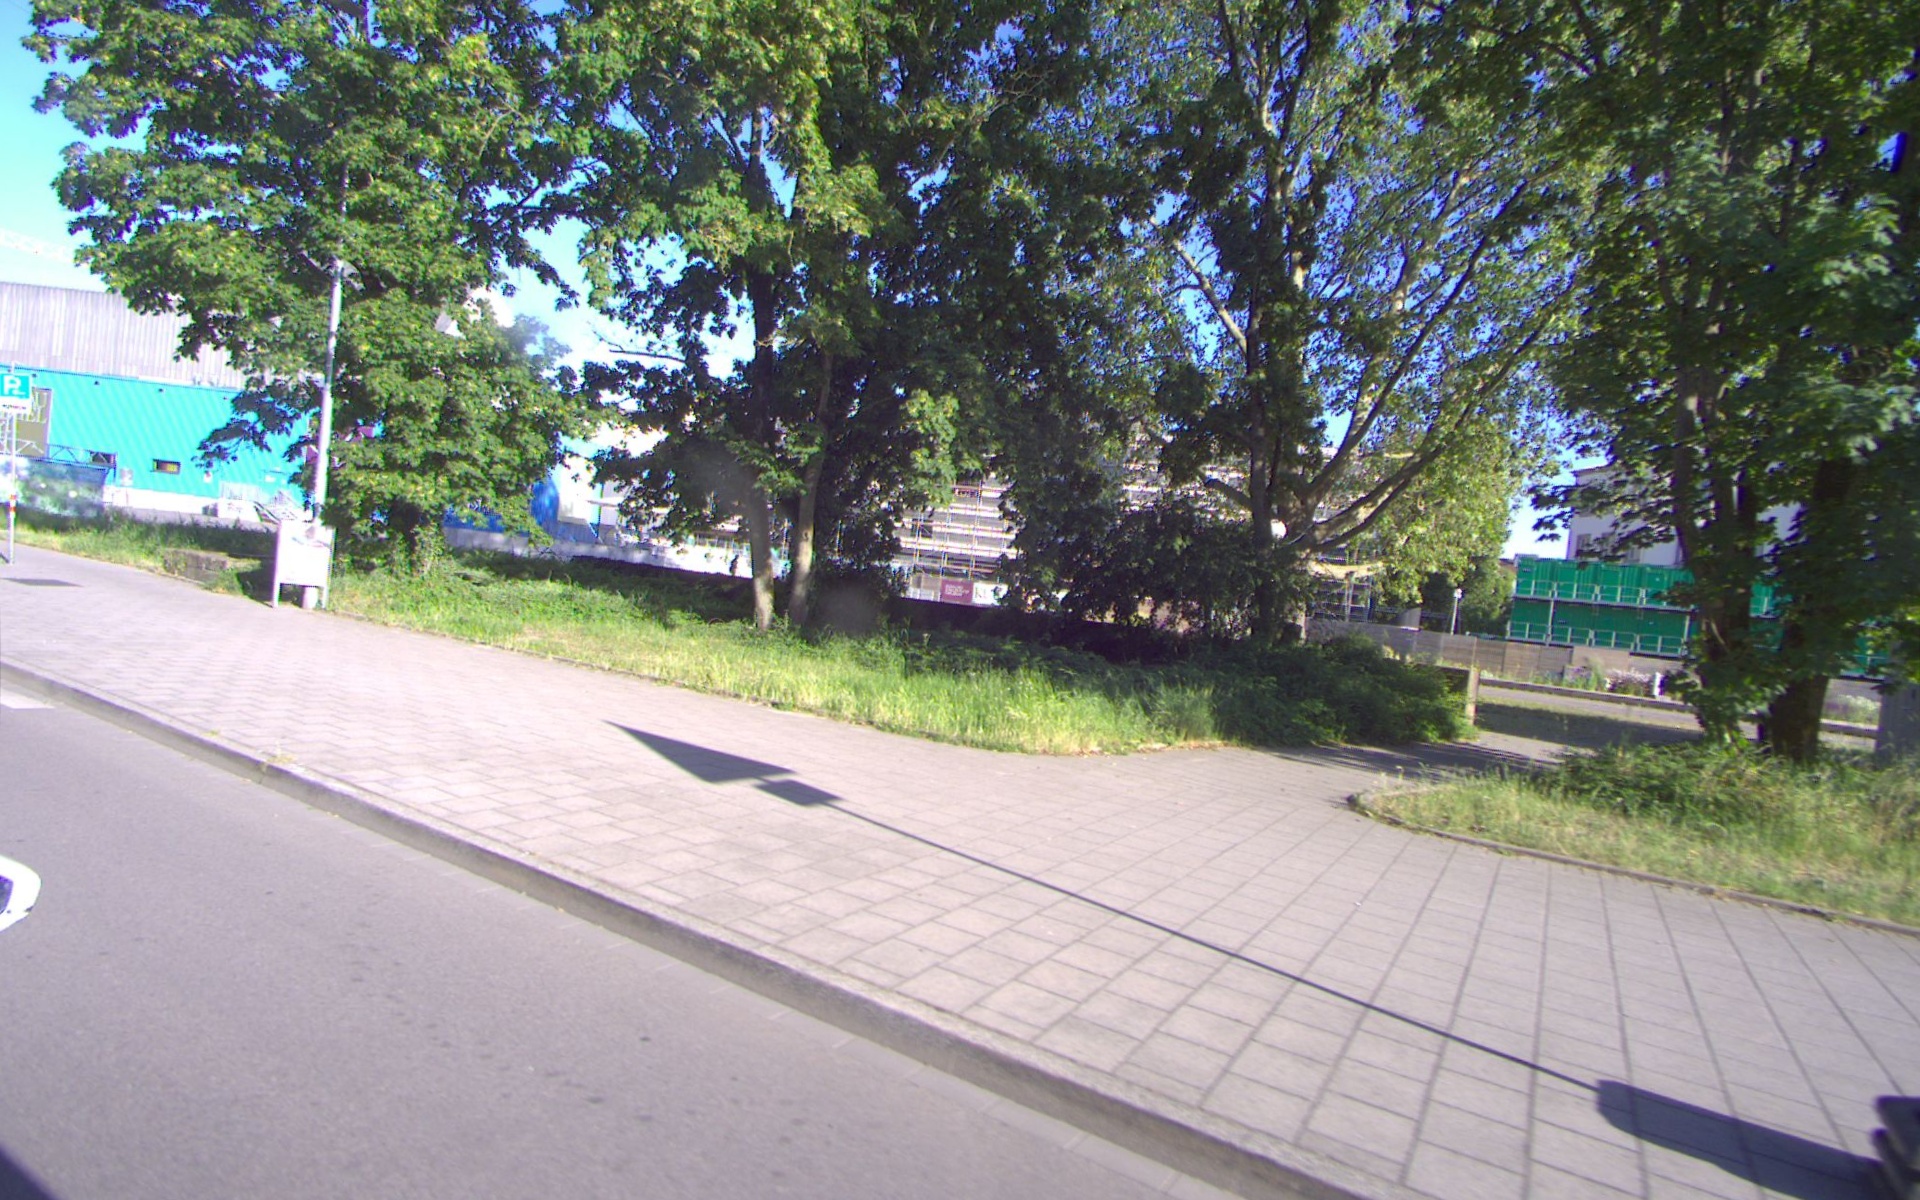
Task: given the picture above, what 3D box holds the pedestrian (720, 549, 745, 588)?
[{"bbox_3d":[-12.382,-1.701,54.839,0.932,2.039,0.913,5,1,3],"label":"pedestrian"}]
